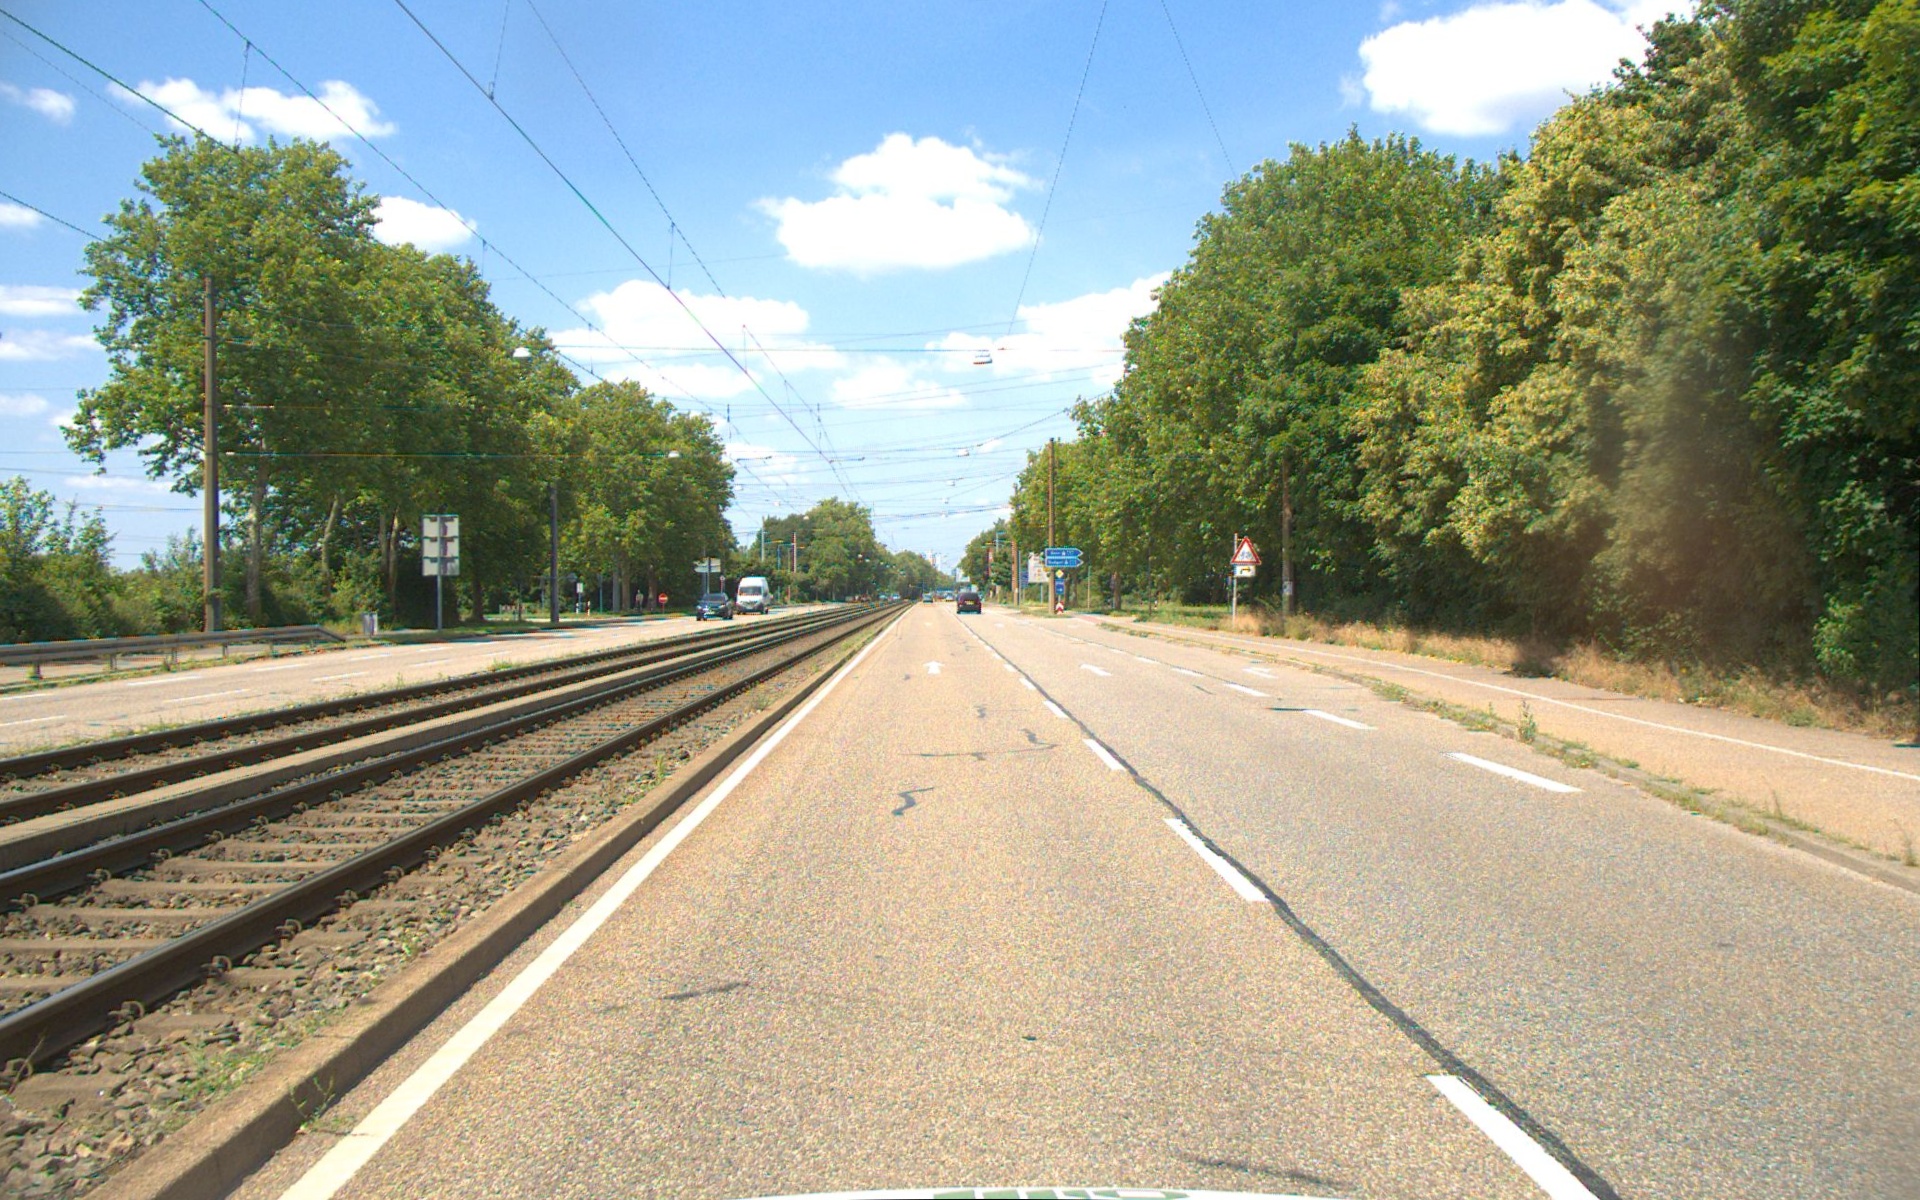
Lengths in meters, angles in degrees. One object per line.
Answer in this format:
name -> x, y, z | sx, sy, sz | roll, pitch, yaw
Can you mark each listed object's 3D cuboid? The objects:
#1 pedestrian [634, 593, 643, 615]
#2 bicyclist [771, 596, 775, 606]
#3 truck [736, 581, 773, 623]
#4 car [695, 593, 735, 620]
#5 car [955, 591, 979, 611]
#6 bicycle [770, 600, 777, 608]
pedestrian -> -23.636, 0.277, 121.611 | 0.503, 1.578, 0.703 | -2, 0, -7
bicyclist -> -22.787, 0.125, 201.567 | 0.445, 1.295, 0.398 | -1, 0, 1
truck -> -15.401, 0.144, 124.397 | 2.012, 2.990, 6.318 | -2, 0, -1
car -> -14.635, 0.372, 98.934 | 1.781, 1.540, 4.426 | -1, 0, -1
car -> 0.490, 0.072, 120.619 | 1.554, 1.366, 3.271 | -1, 1, -3
bicycle -> -22.767, 0.498, 201.638 | 0.505, 0.872, 1.932 | -2, 0, 2
